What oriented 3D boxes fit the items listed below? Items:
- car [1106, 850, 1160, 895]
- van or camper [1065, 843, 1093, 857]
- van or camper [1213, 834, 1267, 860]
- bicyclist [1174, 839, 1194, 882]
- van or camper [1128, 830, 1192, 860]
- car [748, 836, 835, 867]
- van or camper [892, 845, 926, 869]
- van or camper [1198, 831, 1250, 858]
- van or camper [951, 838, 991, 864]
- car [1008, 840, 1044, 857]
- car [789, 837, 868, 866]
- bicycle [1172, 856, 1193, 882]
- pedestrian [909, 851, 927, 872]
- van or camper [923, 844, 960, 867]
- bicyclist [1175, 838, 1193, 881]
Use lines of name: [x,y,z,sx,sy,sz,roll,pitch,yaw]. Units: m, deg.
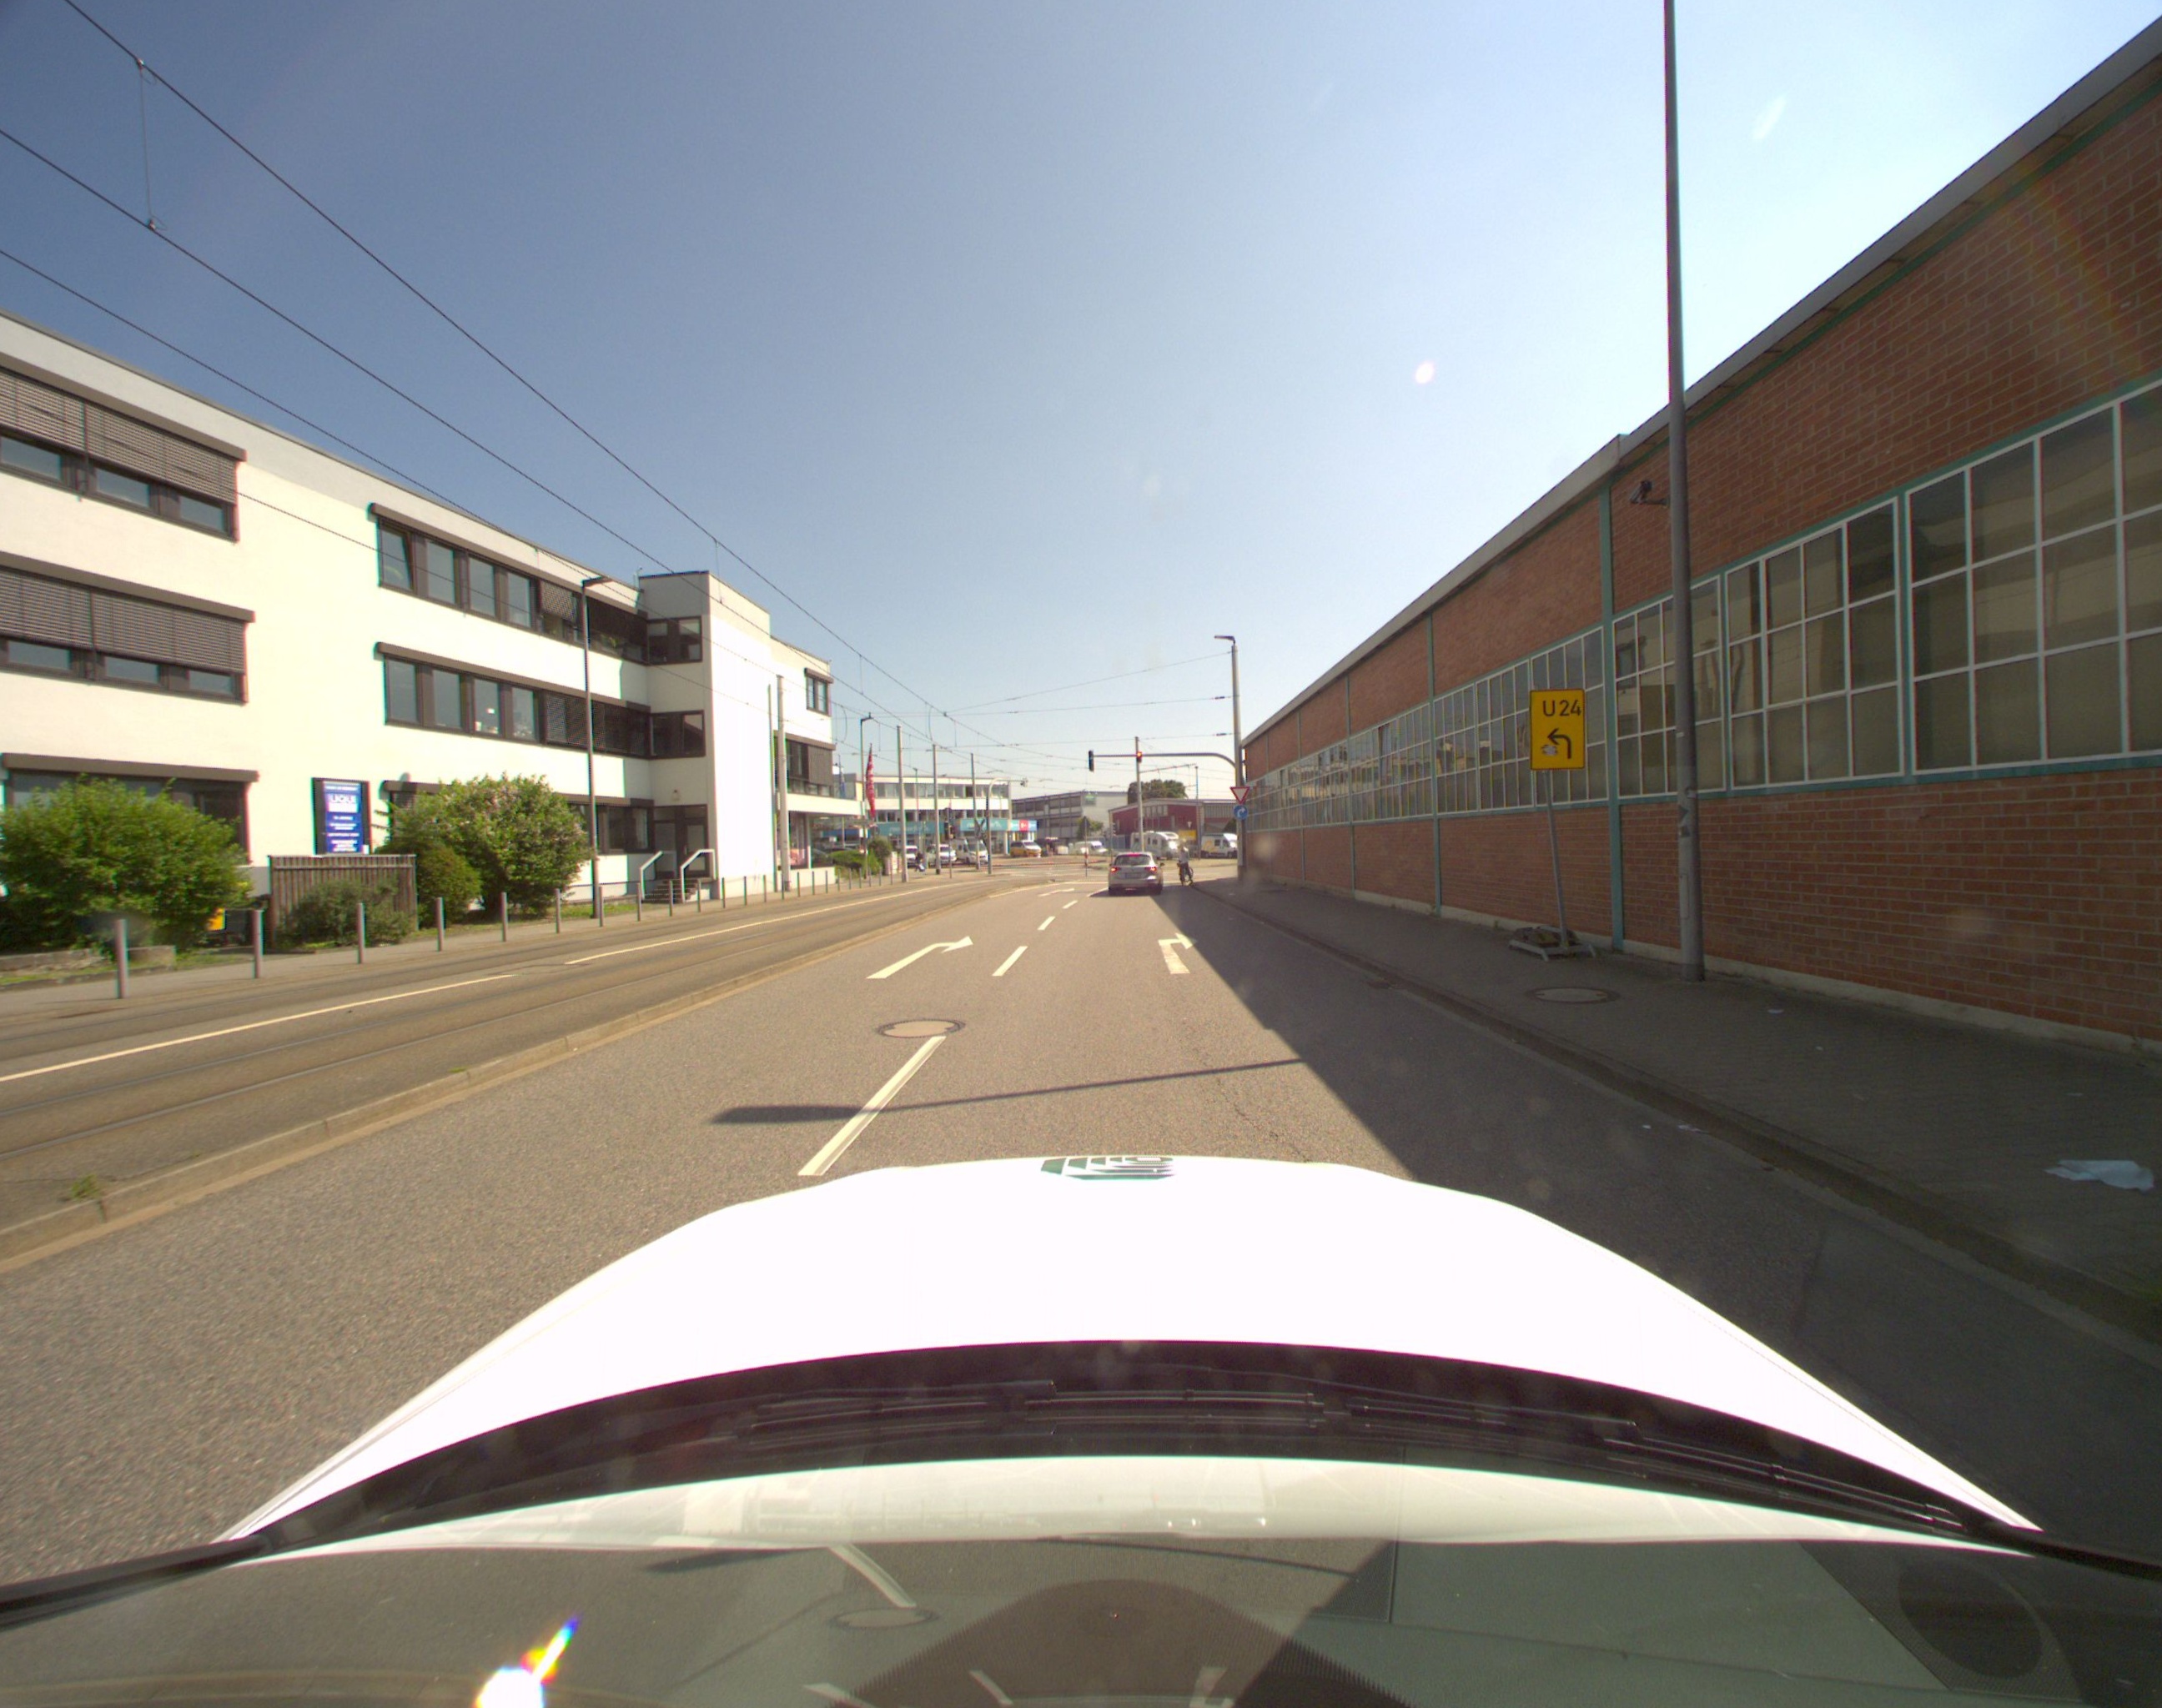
car: [1.938,0.610,29.090,1.737,1.459,4.006,-2,0,6]
van or camper: [-0.314,-0.549,119.104,2.011,1.947,3.951,-2,0,-44]
van or camper: [17.219,-0.786,88.600,2.299,2.611,5.832,-3,3,-33]
bicyclist: [4.219,0.262,33.452,0.782,1.721,1.149,-1,0,6]
van or camper: [8.059,-1.005,84.020,2.366,2.930,6.906,-3,3,-39]
car: [-15.809,-0.135,44.618,3.967,1.563,2.003,-1,0,5]
van or camper: [-16.430,0.229,77.605,2.005,2.013,4.721,-3,3,-27]
van or camper: [14.881,-1.039,84.912,2.299,2.439,5.331,-3,4,-33]
van or camper: [-10.758,-0.374,79.203,2.043,2.295,5.762,-3,3,-27]
car: [-6.286,-0.641,92.886,1.951,1.759,5.072,-2,0,-31]
car: [-15.097,-0.167,48.877,3.967,1.518,2.004,-1,2,5]
bicycle: [4.207,0.611,33.835,0.790,1.021,2.155,-1,0,7]
pedestrian: [-11.595,0.537,57.880,1.129,1.454,0.836,-2,0,-7]
van or camper: [-13.377,0.088,77.919,2.005,2.013,4.966,-3,3,-27]
bicyclist: [4.486,0.229,35.457,0.704,1.810,0.984,-1,0,5]
